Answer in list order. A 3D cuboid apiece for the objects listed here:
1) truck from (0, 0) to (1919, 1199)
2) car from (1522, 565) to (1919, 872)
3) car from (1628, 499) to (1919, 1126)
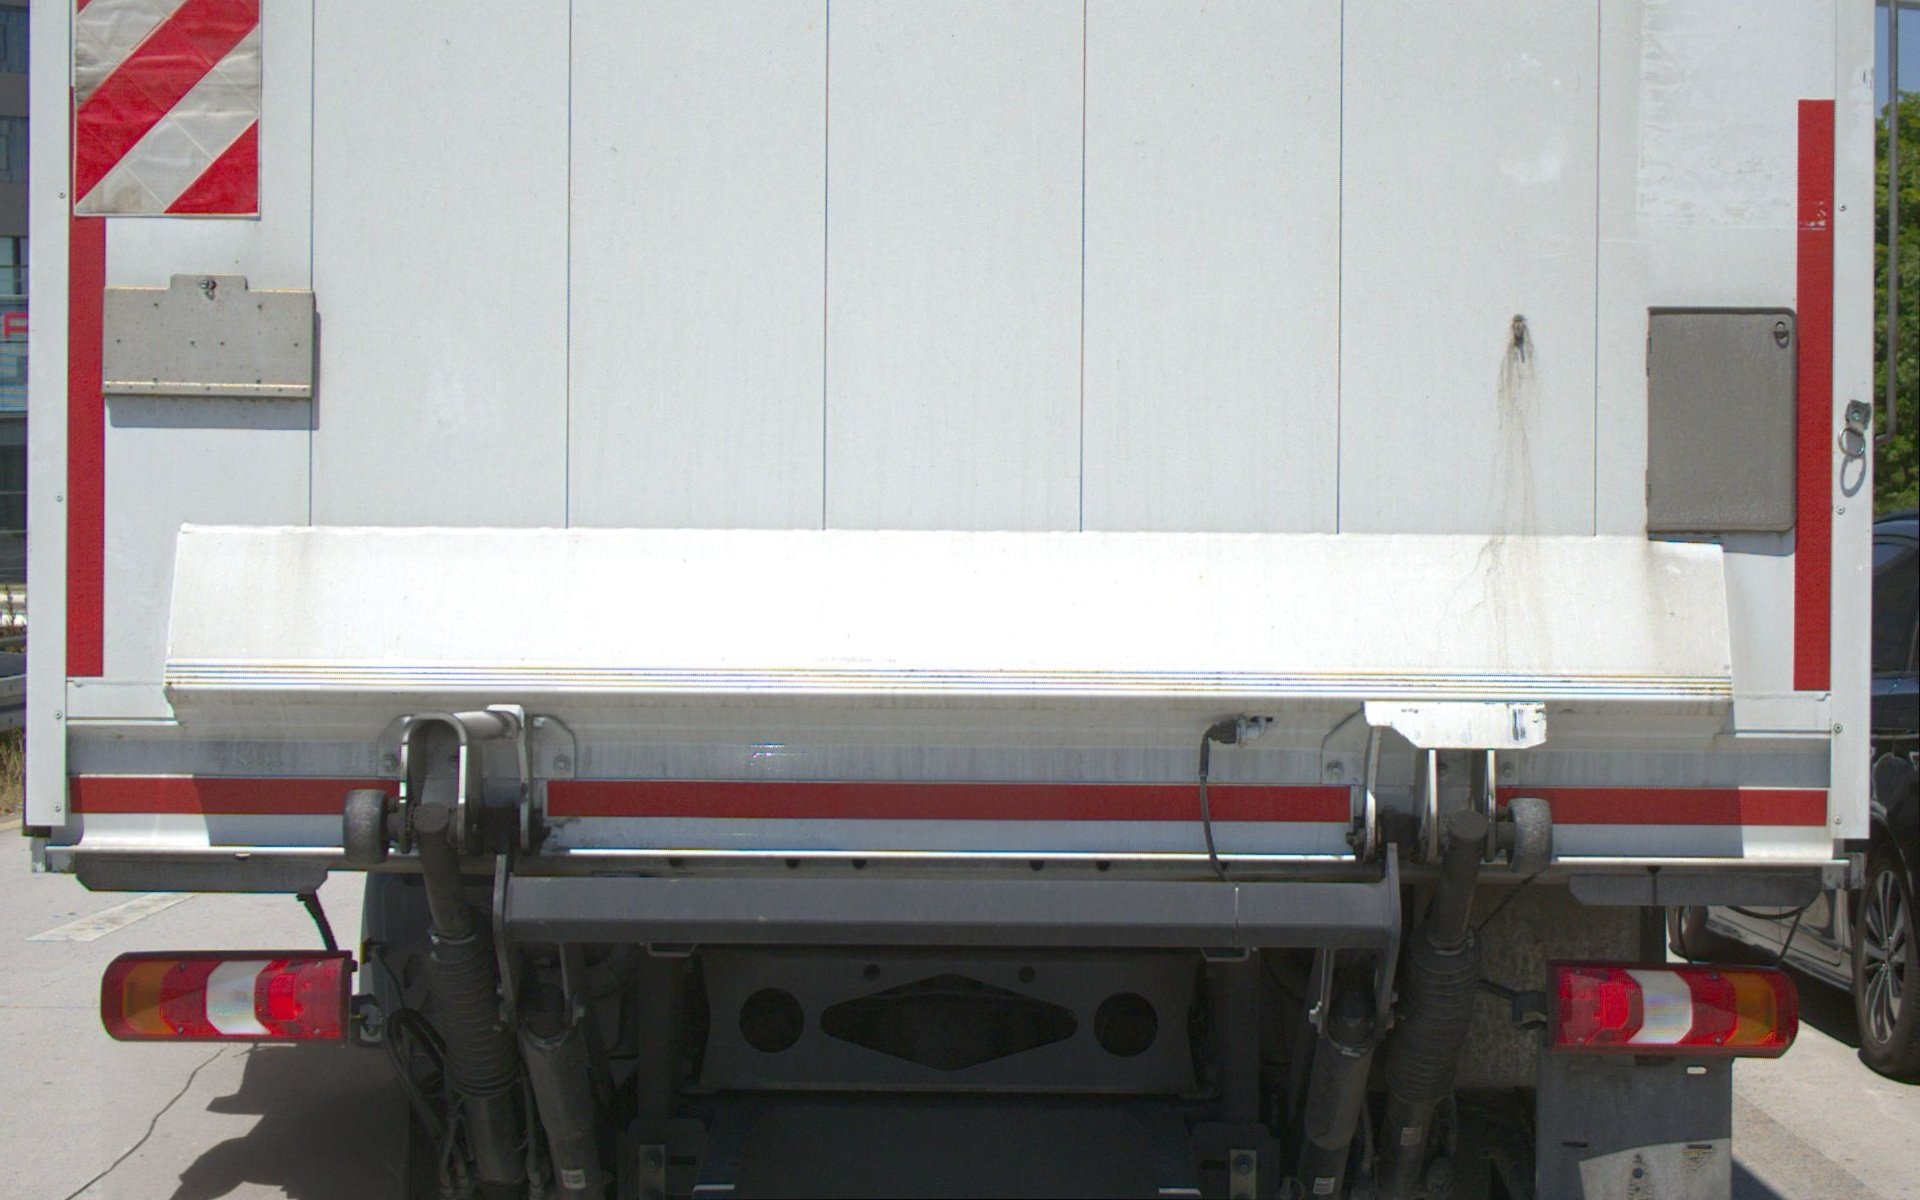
[{"bbox_3d":[-0.008,-0.550,9.170,2.769,3.846,9.371,1,1,-1],"label":"truck"},{"bbox_3d":[4.172,0.532,18.256,1.768,1.405,4.609,1,1,2],"label":"car"},{"bbox_3d":[3.455,0.543,11.084,1.784,1.634,4.647,1,1,1],"label":"car"}]
